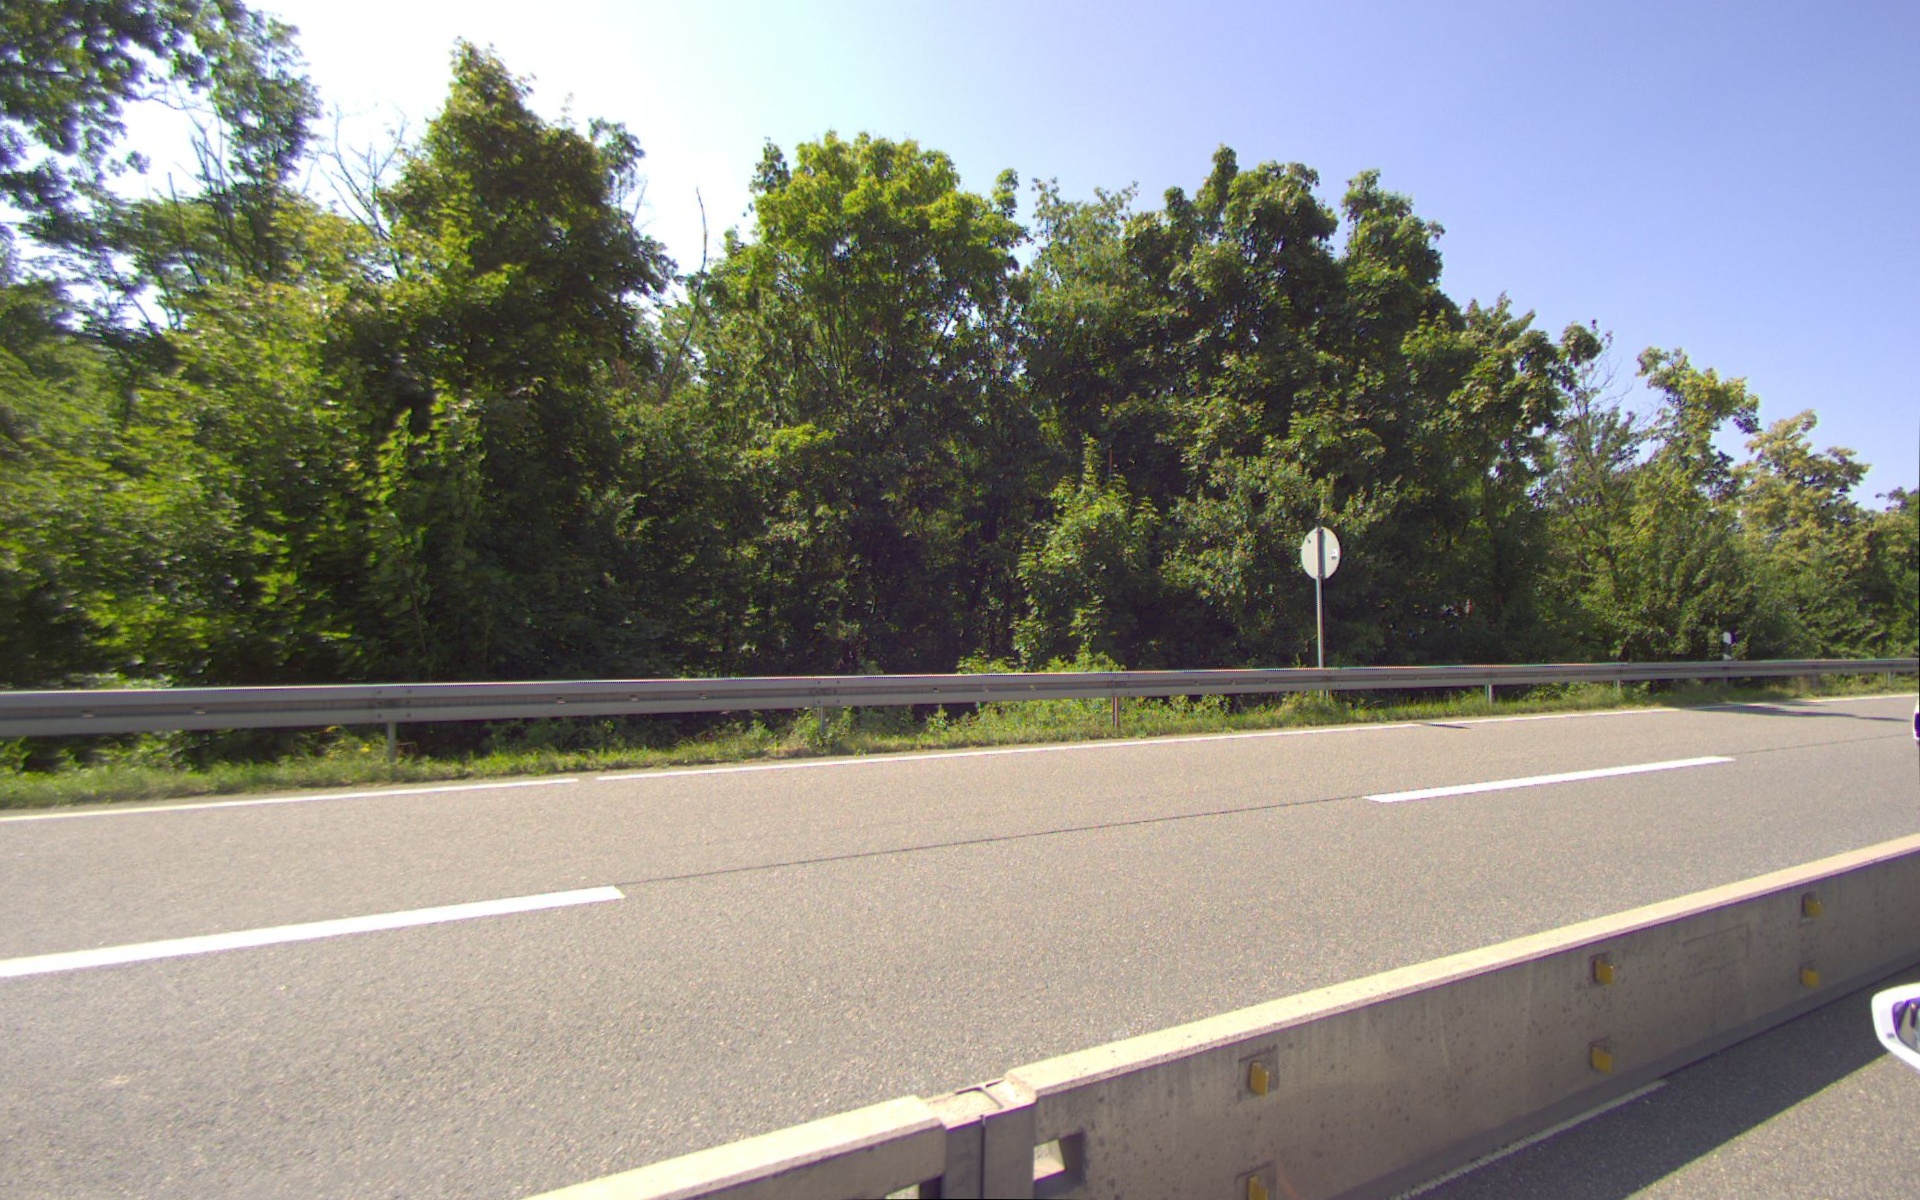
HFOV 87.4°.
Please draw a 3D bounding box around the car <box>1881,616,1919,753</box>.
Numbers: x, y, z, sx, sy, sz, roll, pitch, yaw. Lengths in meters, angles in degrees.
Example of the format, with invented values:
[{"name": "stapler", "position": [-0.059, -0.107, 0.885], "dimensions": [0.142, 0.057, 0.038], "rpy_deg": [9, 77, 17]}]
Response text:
[{"name": "car", "position": [13.118, 1.018, 12.009], "dimensions": [4.384, 1.559, 1.939], "rpy_deg": [2, 0, -31]}]
